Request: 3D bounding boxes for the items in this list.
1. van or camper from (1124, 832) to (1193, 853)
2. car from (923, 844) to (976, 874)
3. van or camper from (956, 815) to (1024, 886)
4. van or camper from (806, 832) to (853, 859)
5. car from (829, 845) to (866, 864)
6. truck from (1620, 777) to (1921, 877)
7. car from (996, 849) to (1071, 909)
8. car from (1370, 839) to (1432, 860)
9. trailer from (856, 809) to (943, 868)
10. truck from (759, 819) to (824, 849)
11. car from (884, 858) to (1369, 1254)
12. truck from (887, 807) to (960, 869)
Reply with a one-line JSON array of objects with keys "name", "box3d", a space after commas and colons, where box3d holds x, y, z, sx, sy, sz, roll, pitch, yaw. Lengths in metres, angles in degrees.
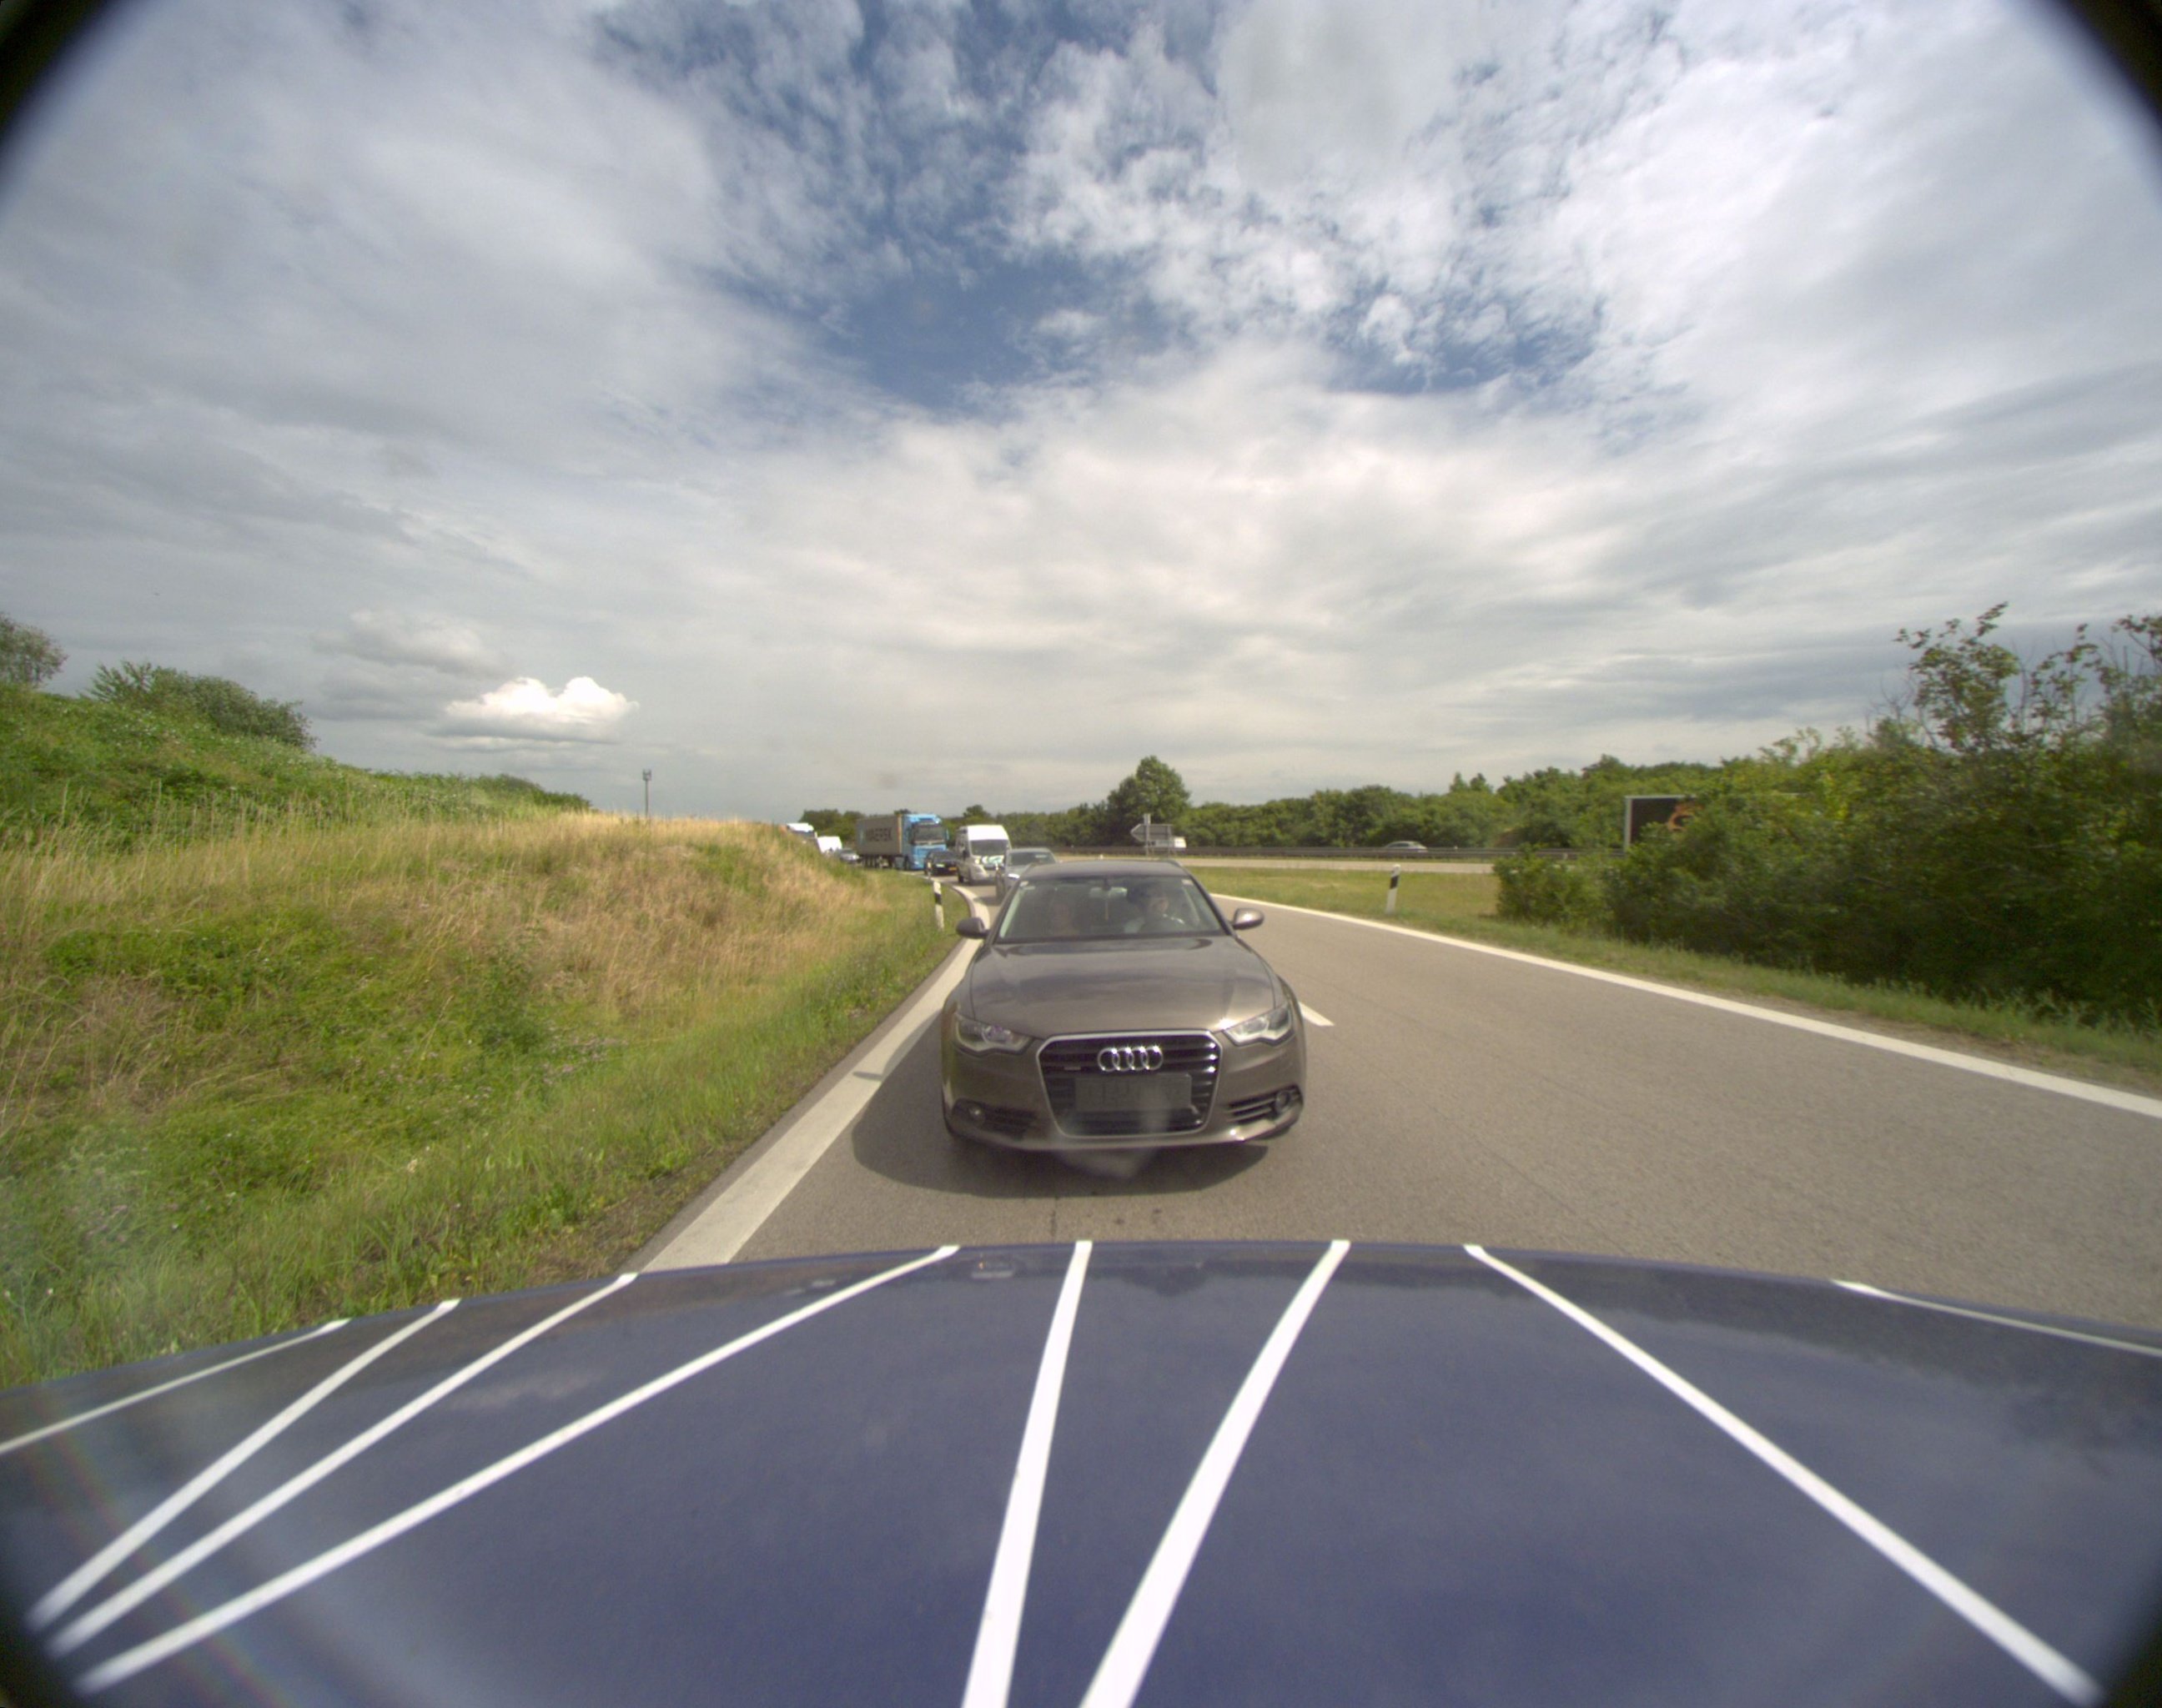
[{"name": "van or camper", "box3d": [7.917, -1.218, 78.669, 7.316, 2.117, 2.234, 2, 2, 45]}, {"name": "car", "box3d": [-7.788, 0.276, 44.751, 2.003, 1.609, 3.990, -2, 2, -26]}, {"name": "van or camper", "box3d": [-4.302, -0.186, 34.979, 2.400, 2.892, 5.713, -3, 1, -13]}, {"name": "van or camper", "box3d": [-24.850, -0.888, 74.887, 2.558, 2.200, 5.692, -4, 6, -39]}, {"name": "car", "box3d": [-21.530, 0.009, 70.023, 2.003, 1.522, 3.988, -3, 3, -37]}, {"name": "truck", "box3d": [28.054, -1.037, 31.458, 2.898, 3.567, 8.920, -4, 3, -41]}, {"name": "car", "box3d": [-1.552, 0.691, 23.424, 1.844, 1.587, 4.169, -1, 1, -10]}, {"name": "car", "box3d": [25.150, -0.384, 59.837, 2.004, 1.565, 3.988, 0, 2, -42]}, {"name": "trailer", "box3d": [-14.691, -1.140, 60.457, 3.280, 4.138, 11.988, -3, 2, -30]}, {"name": "truck", "box3d": [-33.038, -2.233, 86.292, 3.131, 3.221, 11.128, -3, 2, -41]}, {"name": "car", "box3d": [0.185, 0.865, 5.467, 1.999, 1.506, 4.537, -2, 1, 0]}, {"name": "truck", "box3d": [-11.387, -1.117, 54.477, 3.184, 4.050, 6.631, -3, 2, -28]}]
